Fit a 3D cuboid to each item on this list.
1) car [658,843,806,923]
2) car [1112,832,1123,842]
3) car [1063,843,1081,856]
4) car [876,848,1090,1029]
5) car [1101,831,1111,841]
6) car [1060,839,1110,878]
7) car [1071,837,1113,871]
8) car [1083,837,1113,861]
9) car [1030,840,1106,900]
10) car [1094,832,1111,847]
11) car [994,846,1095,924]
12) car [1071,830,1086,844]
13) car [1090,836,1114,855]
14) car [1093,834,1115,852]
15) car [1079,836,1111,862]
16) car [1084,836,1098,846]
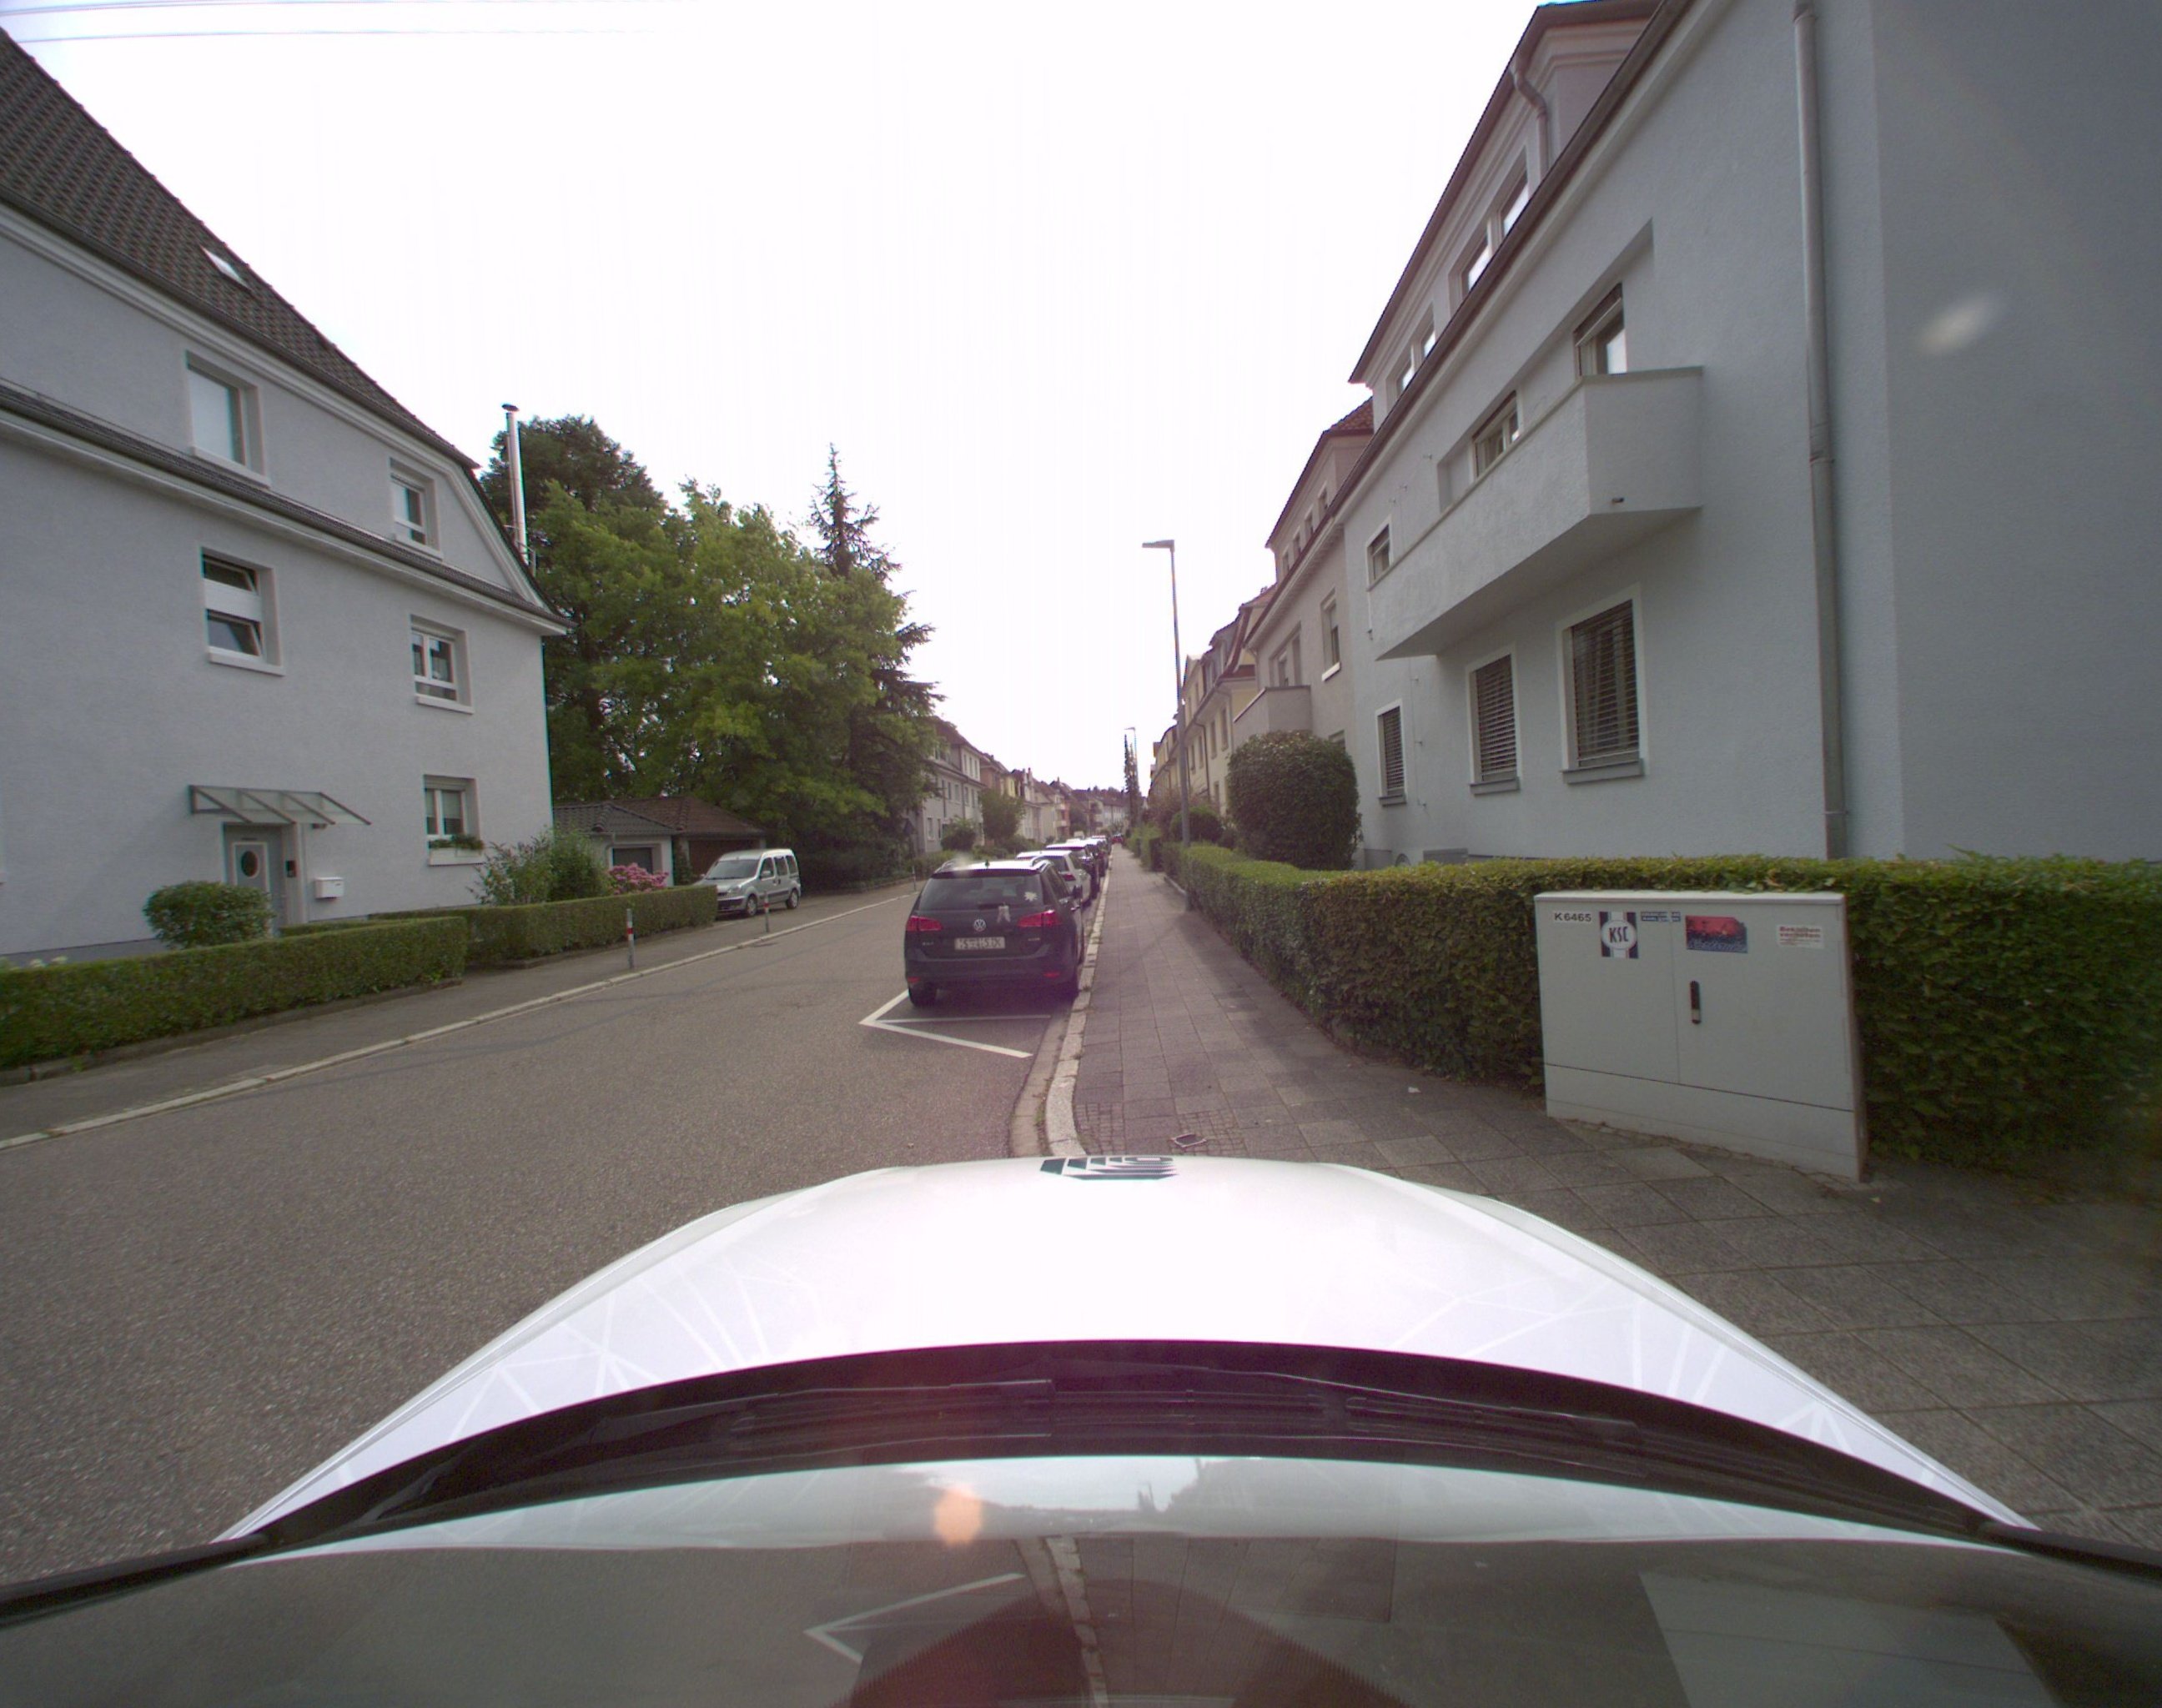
[{"bbox_3d":[-9.457,0.717,22.478,1.985,1.837,4.005,-4,1,4],"label":"car"},{"bbox_3d":[6.359,-3.016,141.285,1.846,1.577,4.180,-4,1,4],"label":"car"},{"bbox_3d":[-1.257,-0.620,115.389,1.983,1.639,4.007,-3,1,6],"label":"car"},{"bbox_3d":[-0.908,0.748,9.478,1.848,1.471,4.174,-4,1,-1],"label":"car"},{"bbox_3d":[5.734,-4.130,187.924,1.983,2.123,4.007,-3,1,6],"label":"car"},{"bbox_3d":[0.248,0.155,35.934,1.846,1.471,4.180,-4,1,4],"label":"car"},{"bbox_3d":[0.606,-0.039,41.521,1.846,1.471,4.180,-4,1,4],"label":"car"},{"bbox_3d":[1.247,-0.398,58.035,1.846,1.471,4.180,-4,1,4],"label":"car"},{"bbox_3d":[-0.282,0.411,24.332,1.846,1.471,4.180,-4,1,4],"label":"car"},{"bbox_3d":[2.530,-1.719,94.921,1.846,1.577,4.178,-4,1,3],"label":"car"},{"bbox_3d":[-0.727,0.644,19.300,1.846,1.471,4.180,-4,1,4],"label":"car"},{"bbox_3d":[-0.394,-2.709,127.514,1.984,2.013,4.006,-4,1,5],"label":"car"},{"bbox_3d":[1.870,-0.766,70.402,1.846,1.471,4.180,-4,1,4],"label":"car"},{"bbox_3d":[2.182,-1.040,76.009,1.846,1.577,4.180,-4,1,4],"label":"car"},{"bbox_3d":[0.970,-0.363,53.686,1.846,1.471,4.180,-4,1,4],"label":"car"},{"bbox_3d":[1.764,-2.324,144.038,1.983,1.639,4.007,-4,1,6],"label":"car"}]
